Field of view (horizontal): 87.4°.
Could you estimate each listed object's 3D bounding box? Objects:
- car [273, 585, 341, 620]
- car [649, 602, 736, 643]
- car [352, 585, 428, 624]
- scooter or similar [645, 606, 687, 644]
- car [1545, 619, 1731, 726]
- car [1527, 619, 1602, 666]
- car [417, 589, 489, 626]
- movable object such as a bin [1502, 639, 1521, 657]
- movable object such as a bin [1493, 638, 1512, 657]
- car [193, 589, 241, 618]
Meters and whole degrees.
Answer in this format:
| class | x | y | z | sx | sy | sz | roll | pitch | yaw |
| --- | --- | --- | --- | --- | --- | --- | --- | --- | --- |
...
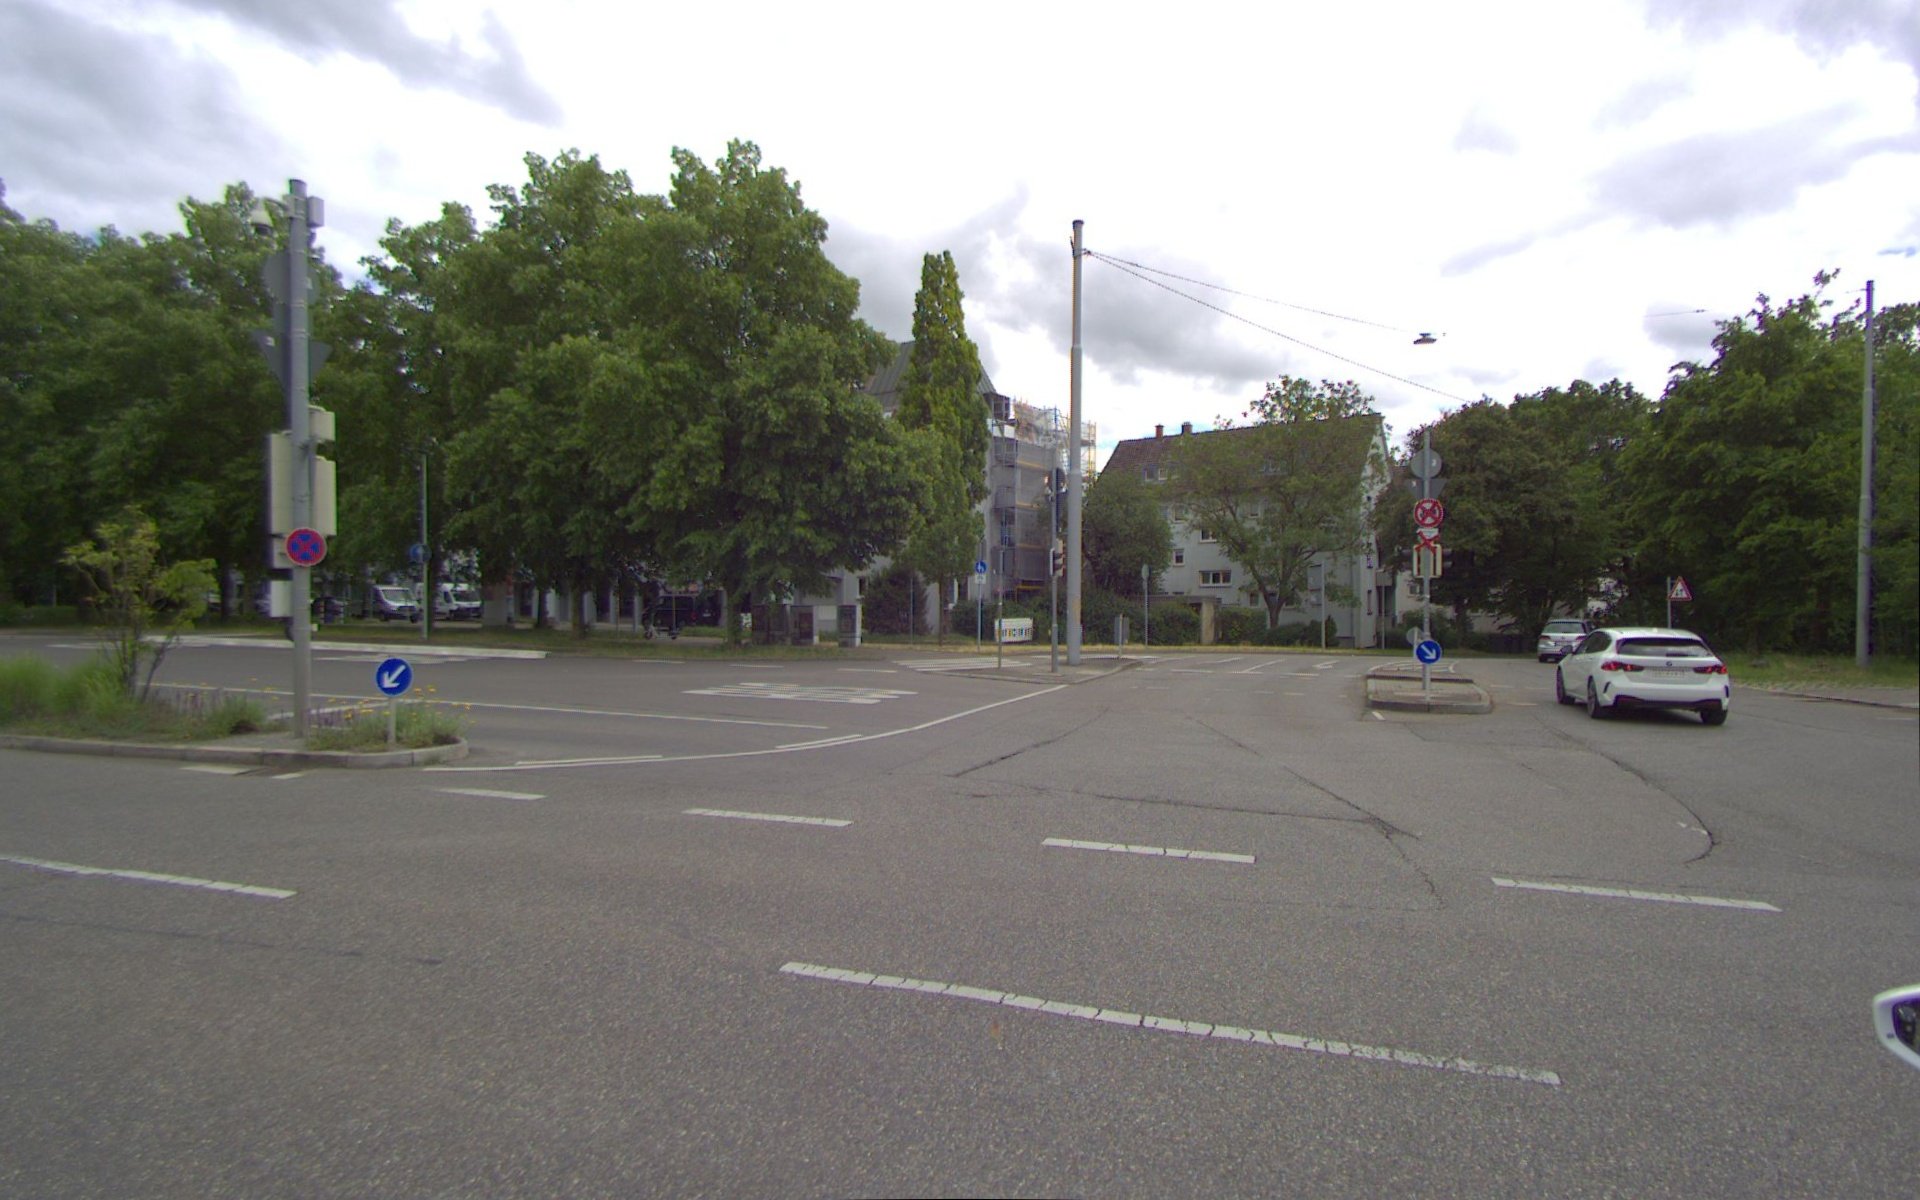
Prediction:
| class | x | y | z | sx | sy | sz | roll | pitch | yaw |
| --- | --- | --- | --- | --- | --- | --- | --- | --- | --- |
| car | -44.229 | 0.164 | 68.004 | 5.407 | 2.120 | 2.308 | 3 | 1 | 39 |
| car | -11.581 | 0.966 | 43.351 | 3.890 | 1.691 | 1.640 | 0 | -2 | 40 |
| car | -34.266 | 0.232 | 60.319 | 5.224 | 2.145 | 2.211 | 3 | 1 | 39 |
| scooter or similar | -11.792 | 1.001 | 40.304 | 1.564 | 1.465 | 0.554 | 2 | 1 | -12 |
| car | 11.414 | 1.177 | 17.215 | 1.767 | 1.537 | 4.206 | 1 | -2 | 22 |
| car | 21.838 | 1.528 | 36.220 | 1.899 | 1.594 | 3.984 | 0 | -2 | 38 |
| car | -34.124 | 0.469 | 67.550 | 5.407 | 2.284 | 2.308 | 3 | 1 | 39 |
| movable object such as a bin | 26.815 | 2.337 | 48.820 | 0.566 | 0.856 | 0.600 | 2 | 1 | 0 |
| movable object such as a bin | 26.337 | 2.322 | 48.757 | 0.566 | 0.878 | 0.600 | 2 | 1 | 0 |
| car | -54.553 | 0.221 | 73.742 | 4.525 | 1.965 | 1.989 | 3 | 1 | 42 |
